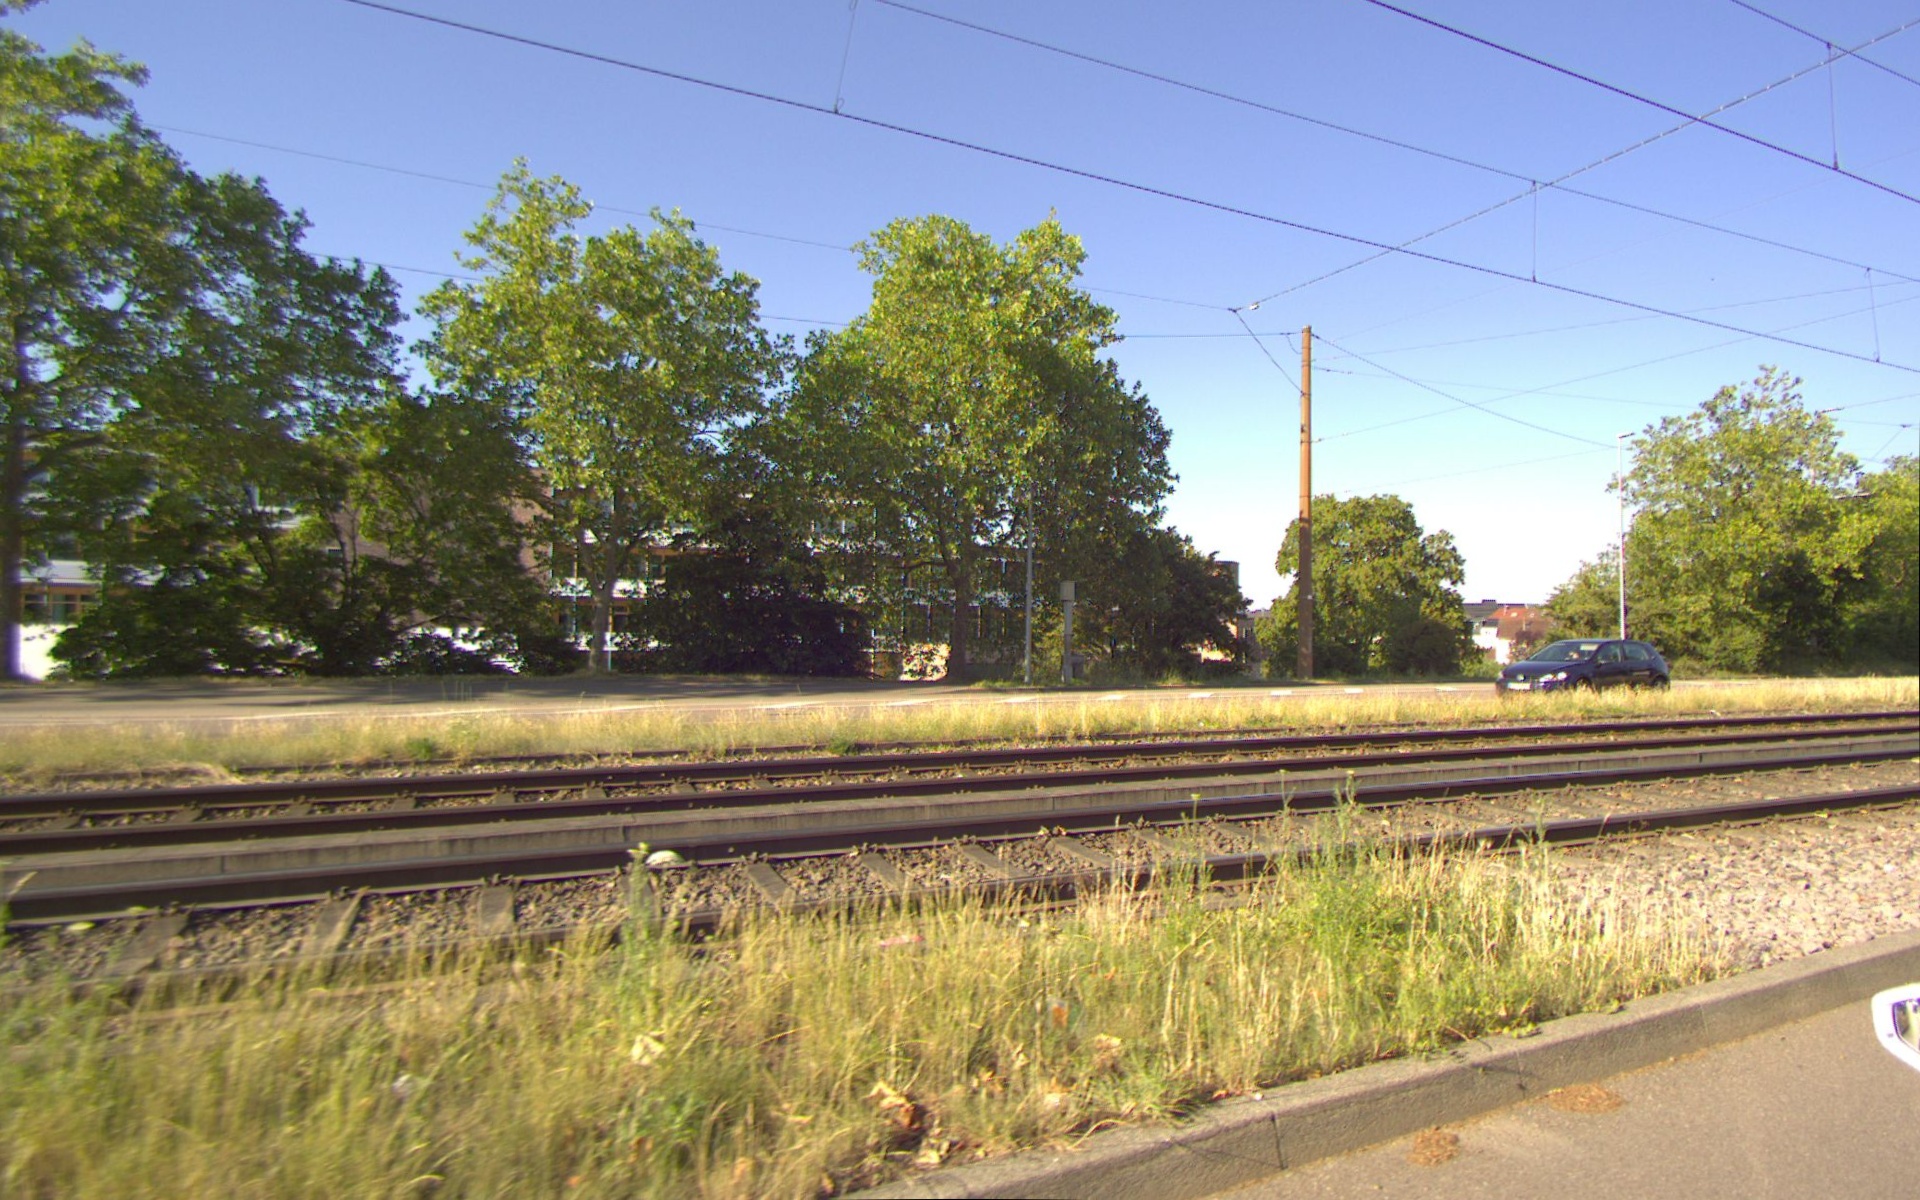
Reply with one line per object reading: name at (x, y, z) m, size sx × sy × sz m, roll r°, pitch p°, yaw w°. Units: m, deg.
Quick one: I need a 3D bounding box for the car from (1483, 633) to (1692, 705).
car at (13.788, 1.469, 22.057) m, size 4.427 × 1.444 × 1.768 m, roll 1°, pitch -2°, yaw -25°
